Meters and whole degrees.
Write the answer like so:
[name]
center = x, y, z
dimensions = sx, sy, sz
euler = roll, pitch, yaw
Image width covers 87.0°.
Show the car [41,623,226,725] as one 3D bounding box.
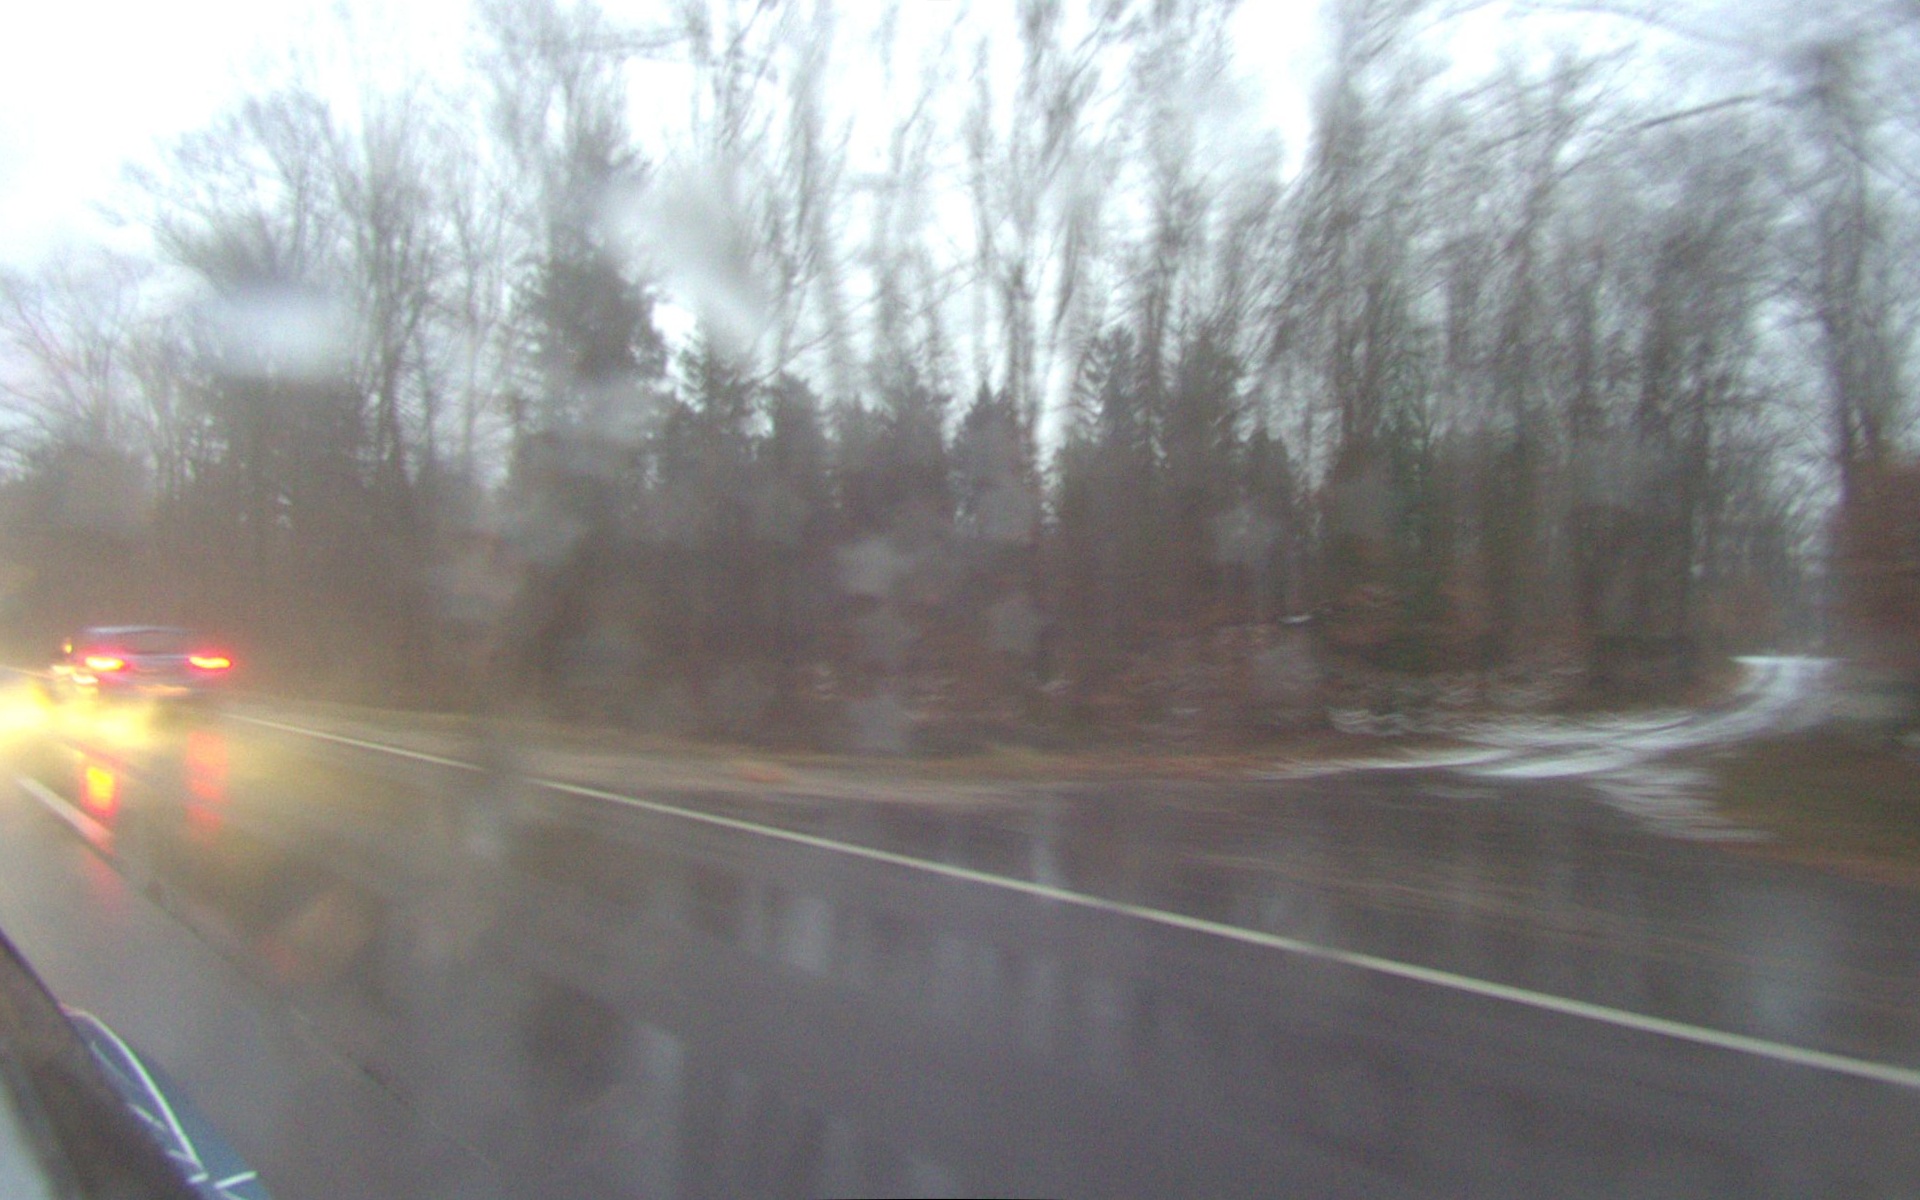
[car]
center = -13.480, 1.139, 16.444
dimensions = 3.636, 1.469, 1.736
euler = -2, -4, 42
